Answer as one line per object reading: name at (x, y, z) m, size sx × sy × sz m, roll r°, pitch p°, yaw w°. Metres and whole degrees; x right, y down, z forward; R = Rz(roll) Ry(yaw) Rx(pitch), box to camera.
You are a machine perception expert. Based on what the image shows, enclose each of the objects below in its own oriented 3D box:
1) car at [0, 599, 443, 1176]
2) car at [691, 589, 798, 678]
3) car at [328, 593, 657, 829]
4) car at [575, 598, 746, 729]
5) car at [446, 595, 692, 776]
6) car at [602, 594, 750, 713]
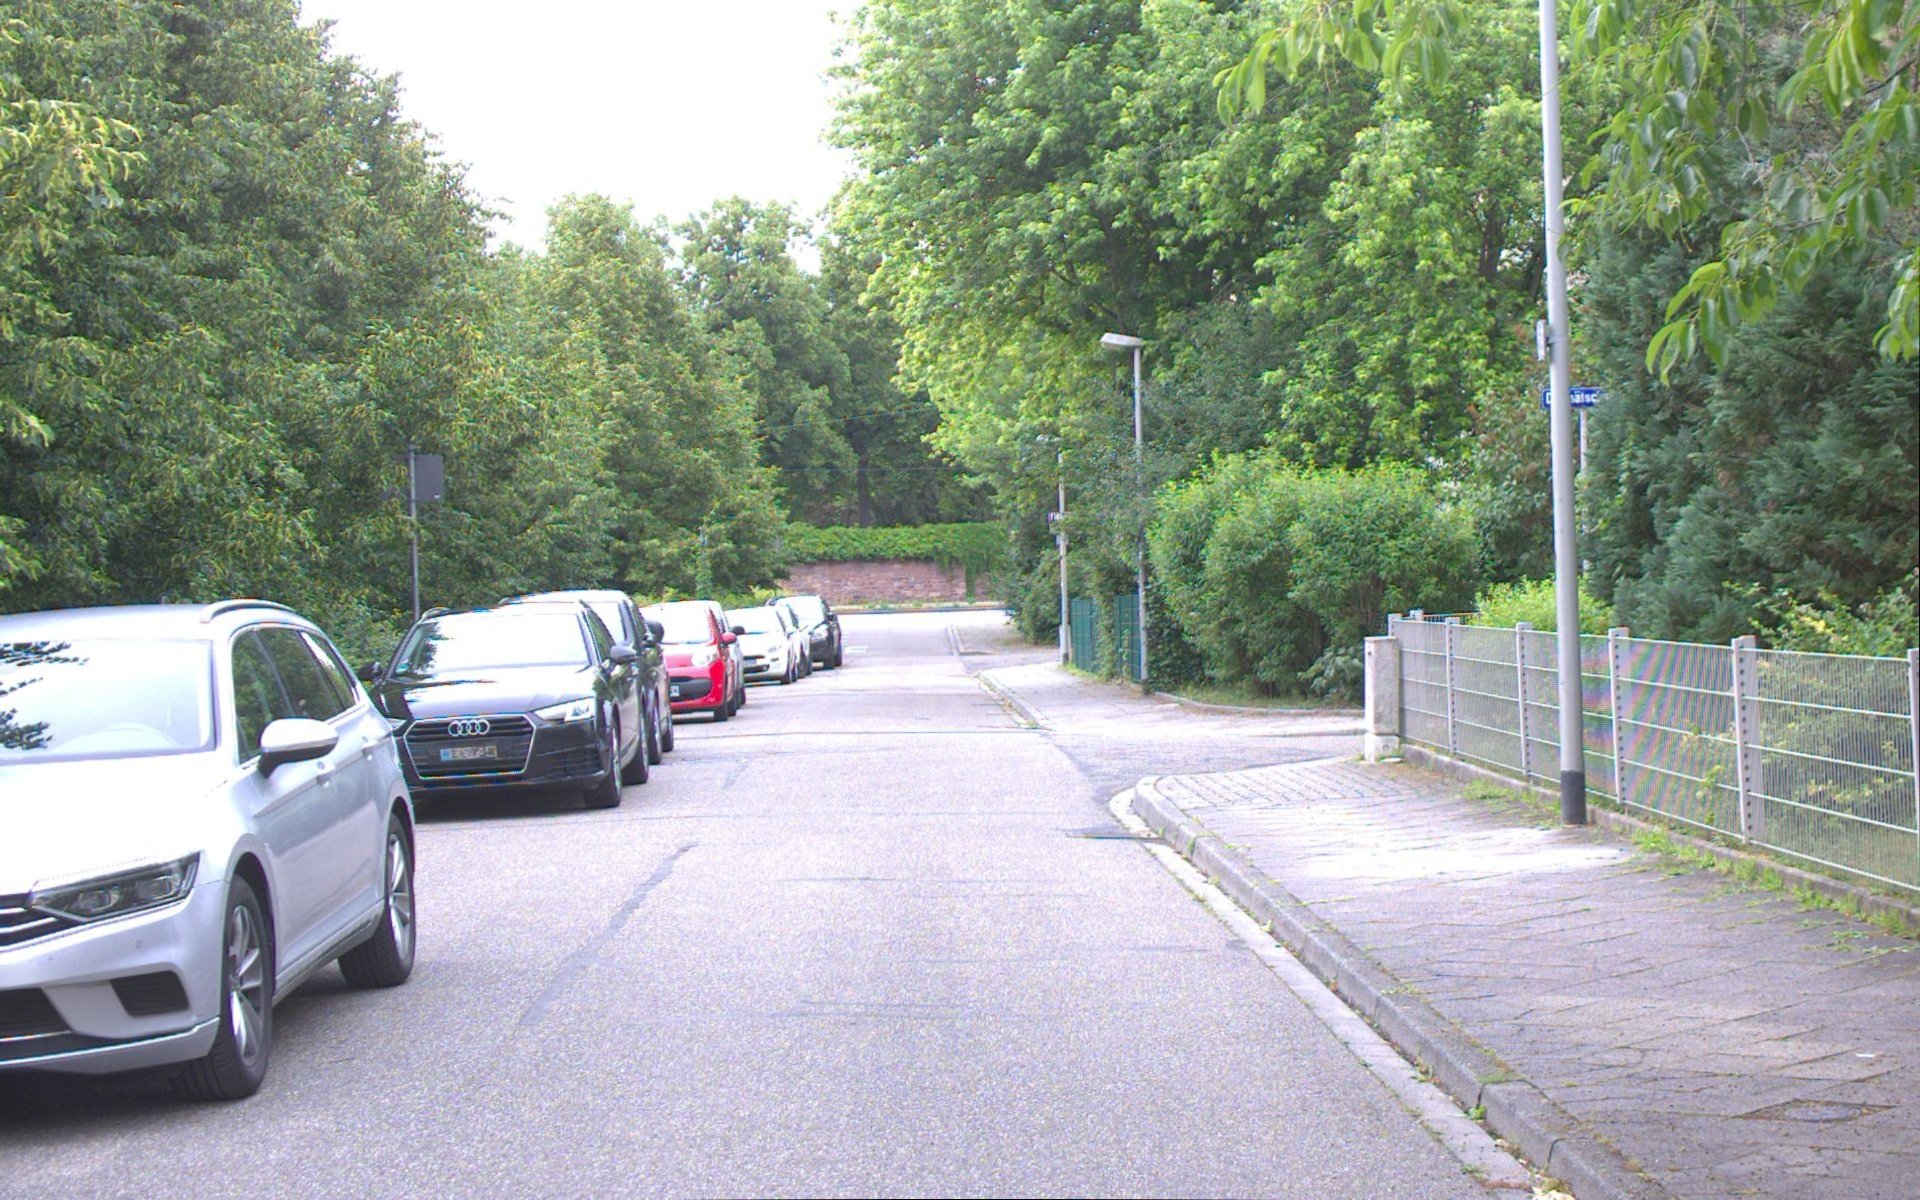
car at (-2.964, 0.783, 11.137) m, size 1.776 × 1.423 × 4.478 m, roll -3°, pitch 1°, yaw 1°
car at (-4.079, 0.615, 65.639) m, size 1.752 × 1.514 × 4.000 m, roll -3°, pitch 1°, yaw 0°
car at (-3.238, 0.723, 24.518) m, size 1.752 × 1.420 × 4.000 m, roll -3°, pitch 1°, yaw 0°
car at (-3.699, 0.759, 43.067) m, size 1.752 × 1.420 × 4.000 m, roll -3°, pitch 1°, yaw 0°
car at (-3.502, 0.729, 31.452) m, size 1.752 × 1.420 × 4.000 m, roll -3°, pitch 1°, yaw 0°
car at (-4.057, 0.739, 49.646) m, size 1.752 × 1.514 × 4.000 m, roll -3°, pitch 1°, yaw 0°
